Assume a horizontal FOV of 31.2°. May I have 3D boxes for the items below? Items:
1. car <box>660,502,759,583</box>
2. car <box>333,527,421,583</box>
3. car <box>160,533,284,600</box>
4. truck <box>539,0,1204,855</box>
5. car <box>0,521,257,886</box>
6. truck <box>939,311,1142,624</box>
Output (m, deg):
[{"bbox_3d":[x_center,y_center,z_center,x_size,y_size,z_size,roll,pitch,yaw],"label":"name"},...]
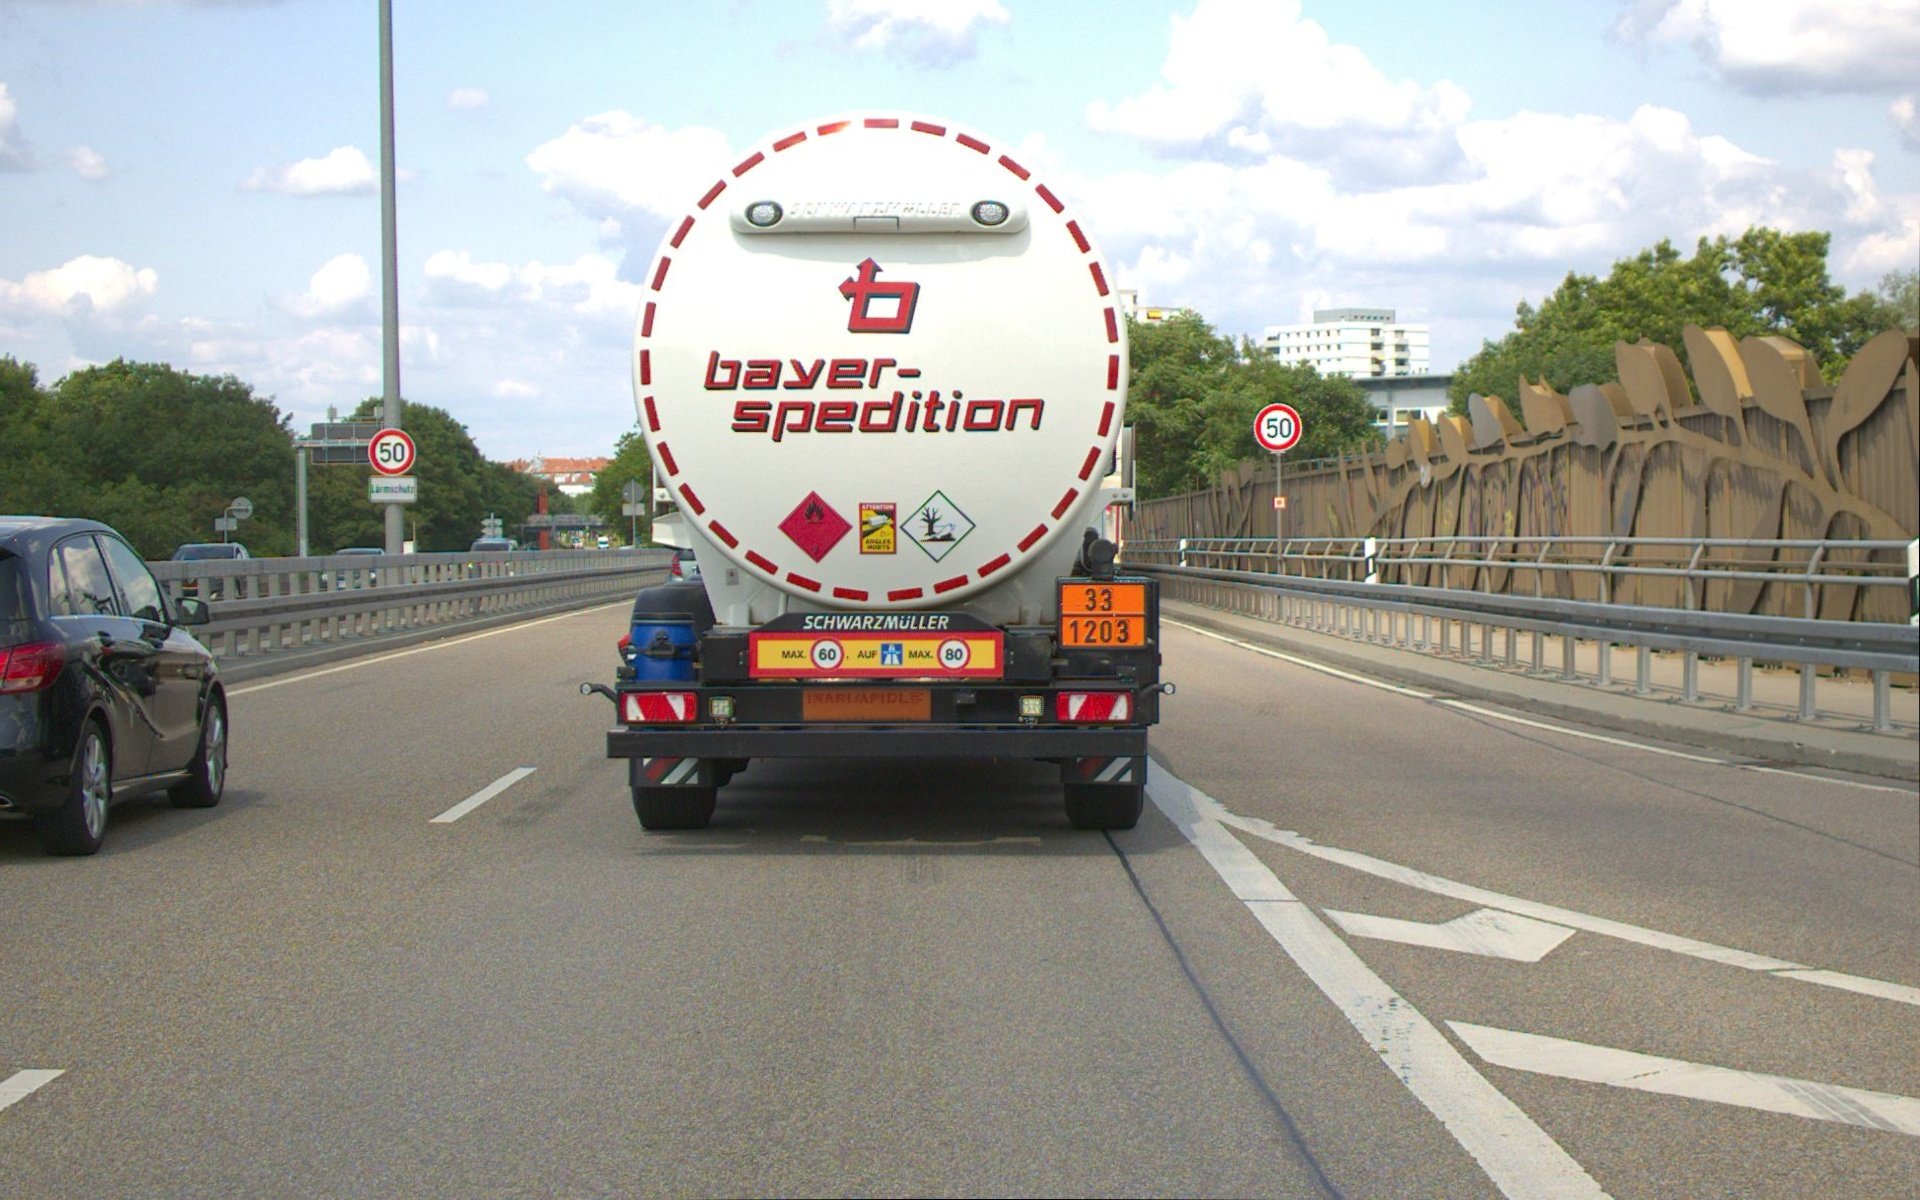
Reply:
[{"bbox_3d":[-4.907,-1.158,67.805,1.747,1.526,4.001,0,2,-1],"label":"car"},{"bbox_3d":[-16.992,-1.340,100.354,1.993,1.568,4.001,1,1,-1],"label":"car"},{"bbox_3d":[-17.134,-0.802,79.991,1.912,1.459,4.519,-1,1,0],"label":"car"},{"bbox_3d":[-0.497,-1.159,19.252,2.895,4.353,8.030,1,1,-2],"label":"truck"},{"bbox_3d":[-4.739,0.383,16.817,1.711,1.522,4.593,1,1,-1],"label":"car"},{"bbox_3d":[1.217,-2.142,57.128,2.895,4.791,8.030,1,1,-2],"label":"truck"}]
